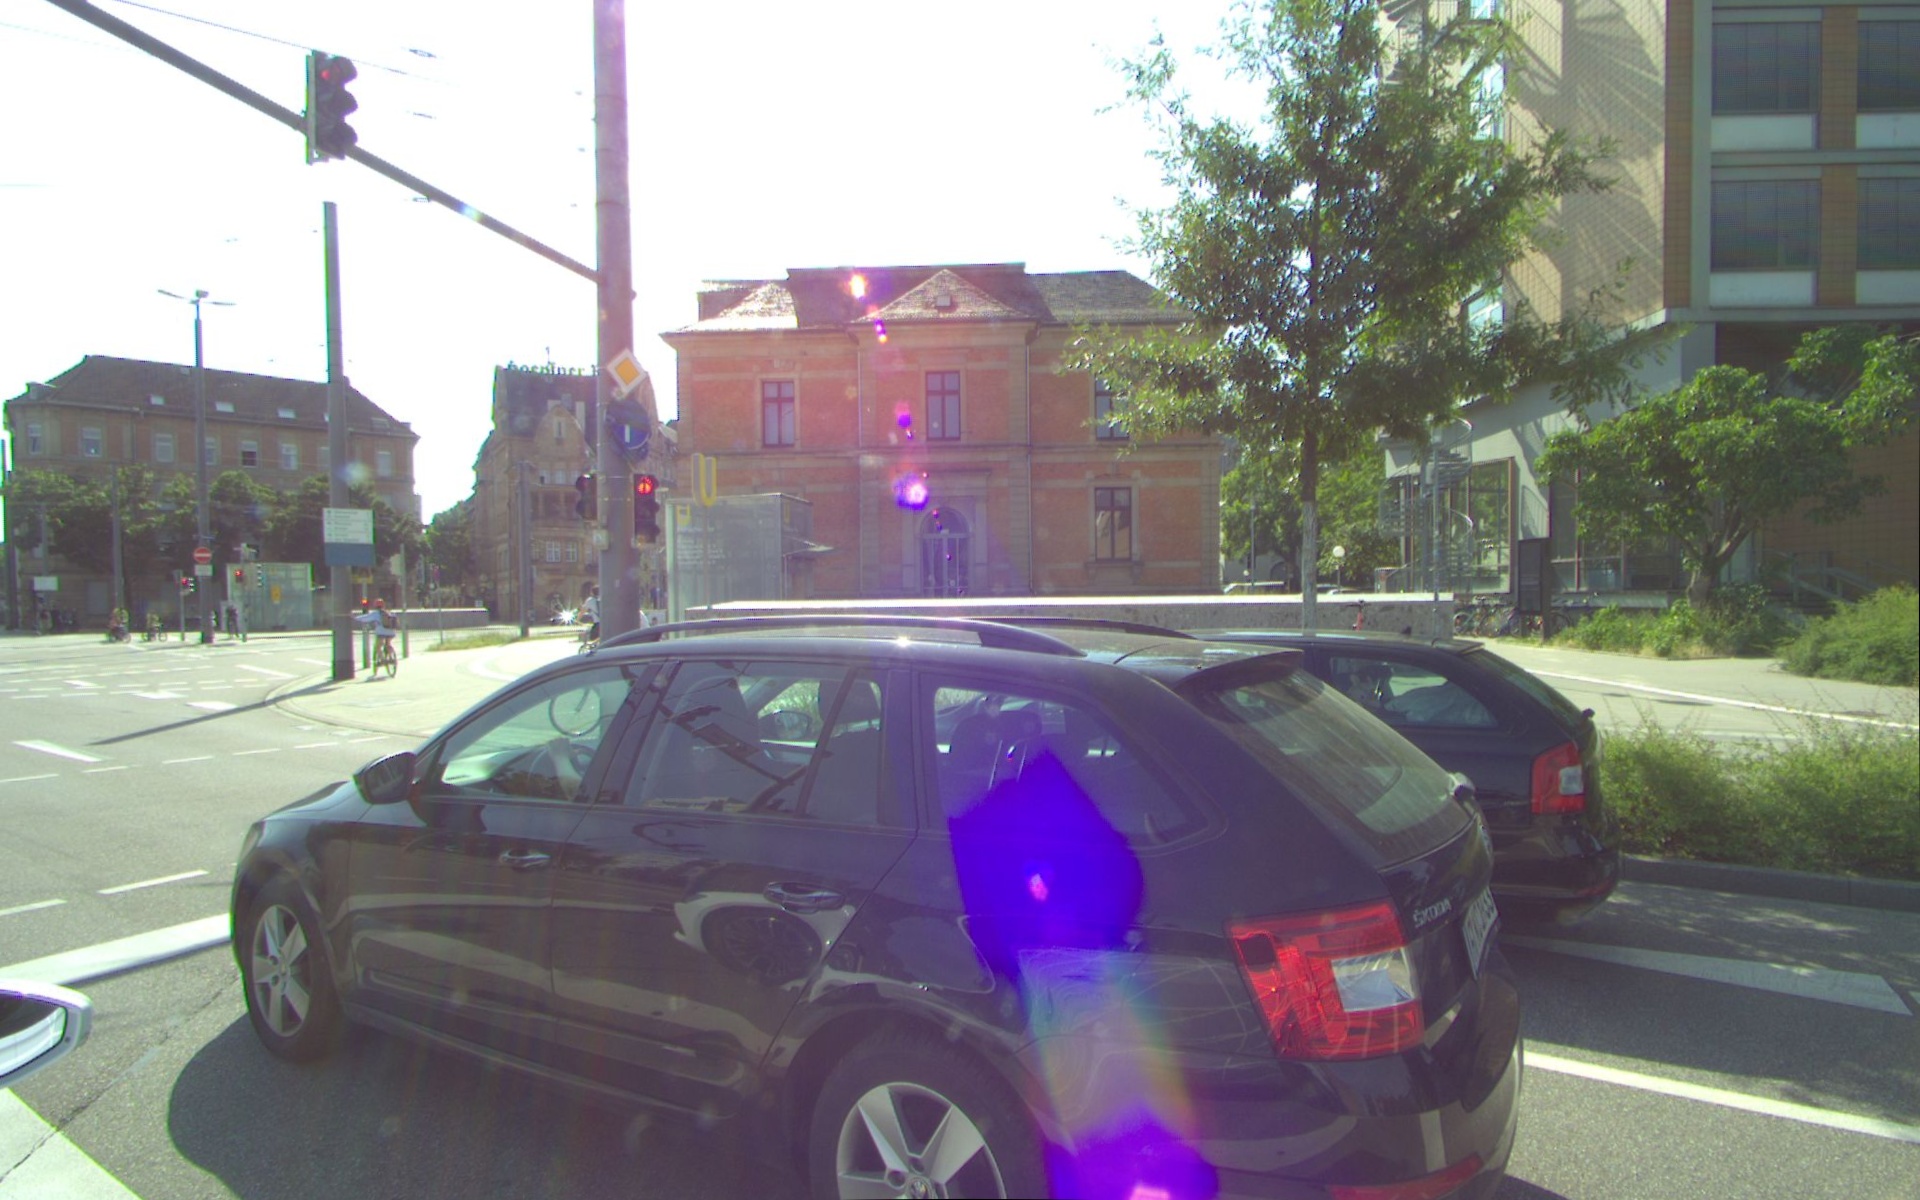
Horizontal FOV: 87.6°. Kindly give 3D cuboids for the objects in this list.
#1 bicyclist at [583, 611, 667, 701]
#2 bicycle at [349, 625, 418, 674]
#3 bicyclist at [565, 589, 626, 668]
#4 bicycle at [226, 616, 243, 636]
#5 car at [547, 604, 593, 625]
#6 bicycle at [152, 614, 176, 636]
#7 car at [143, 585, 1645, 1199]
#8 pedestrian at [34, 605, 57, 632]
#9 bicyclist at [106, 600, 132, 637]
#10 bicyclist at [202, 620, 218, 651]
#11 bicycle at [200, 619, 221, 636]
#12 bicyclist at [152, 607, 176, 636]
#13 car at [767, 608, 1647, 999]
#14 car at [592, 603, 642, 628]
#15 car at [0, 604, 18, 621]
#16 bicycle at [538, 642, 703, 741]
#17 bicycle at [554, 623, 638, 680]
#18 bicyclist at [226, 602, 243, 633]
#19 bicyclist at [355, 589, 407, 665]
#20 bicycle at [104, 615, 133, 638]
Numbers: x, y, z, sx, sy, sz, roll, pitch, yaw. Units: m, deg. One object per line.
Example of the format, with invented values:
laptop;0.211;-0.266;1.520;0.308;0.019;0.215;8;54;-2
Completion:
bicyclist;-4.261;0.687;12.728;0.901;1.043;0.714;-3;2;-24
bicycle;-13.285;1.128;23.050;1.997;1.029;0.710;-1;3;41
bicyclist;-7.255;0.557;19.917;0.940;1.508;0.710;-1;3;43
bicycle;-39.093;1.389;53.965;0.660;1.083;2.447;1;-1;-35
car;-31.506;1.191;81.013;1.607;1.604;3.998;-1;-1;11
bicycle;-41.277;1.303;51.943;0.919;1.083;2.819;1;-1;-38
car;-0.674;0.768;3.283;4.710;1.454;1.628;-1;-1;31
pedestrian;-51.179;1.042;56.035;0.699;1.451;0.614;0;-1;-5
bicyclist;-42.180;0.948;50.224;0.918;1.843;1.045;1;-2;-37
bicyclist;-39.820;1.878;53.153;0.641;1.642;0.498;0;-1;38
bicycle;-39.778;1.443;53.128;1.567;0.877;0.498;0;-1;38
bicyclist;-41.145;1.105;51.778;0.919;1.470;1.242;1;-1;-38
car;1.136;0.787;5.599;4.333;1.448;1.698;0;-1;31
car;-19.240;0.837;56.347;1.639;1.331;3.452;-1;0;-1
car;-116.993;1.496;122.723;2.094;2.040;3.962;-1;0;-43
bicycle;-4.304;1.127;12.713;1.887;1.029;0.714;-3;2;-24
bicycle;-7.288;1.021;19.999;2.000;1.029;0.709;-2;3;44
bicyclist;-39.010;0.933;53.847;0.660;1.645;0.777;1;0;-35
bicyclist;-13.300;0.608;23.015;0.864;1.692;0.710;0;3;40
bicycle;-42.244;1.341;50.303;0.918;1.082;2.727;1;-2;-37
